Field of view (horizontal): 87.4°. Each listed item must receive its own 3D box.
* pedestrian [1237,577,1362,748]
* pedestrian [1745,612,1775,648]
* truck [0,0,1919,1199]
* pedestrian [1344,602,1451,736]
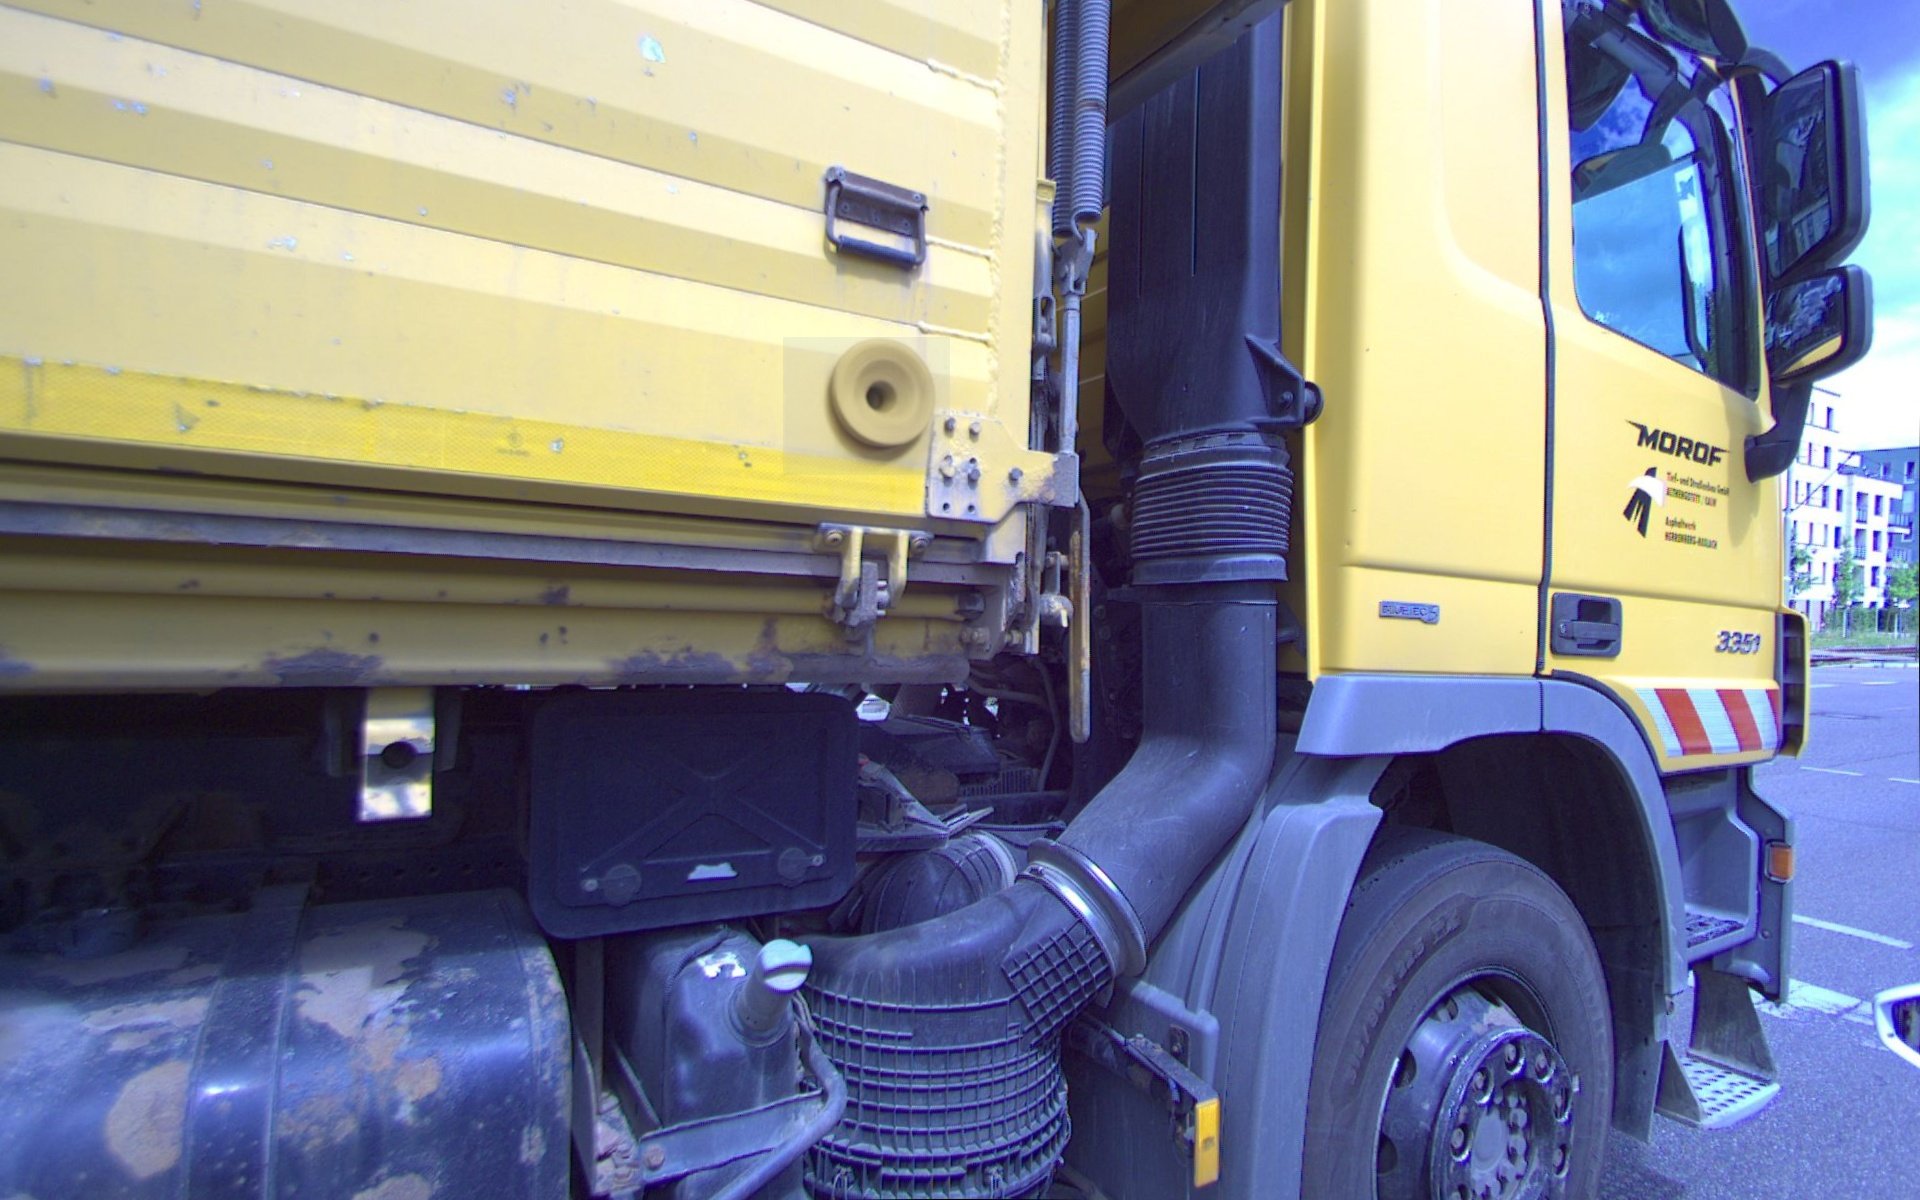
[{"bbox_3d":[3.821,0.664,11.298,0.942,1.797,1.000,1,0,-44],"label":"pedestrian"},{"bbox_3d":[35.030,1.302,43.971,0.628,1.536,0.827,1,0,-30],"label":"pedestrian"},{"bbox_3d":[-1.610,-0.233,1.714,7.916,3.439,3.033,1,0,-32],"label":"truck"},{"bbox_3d":[5.440,0.818,12.501,0.836,1.573,0.938,1,0,-40],"label":"pedestrian"}]
